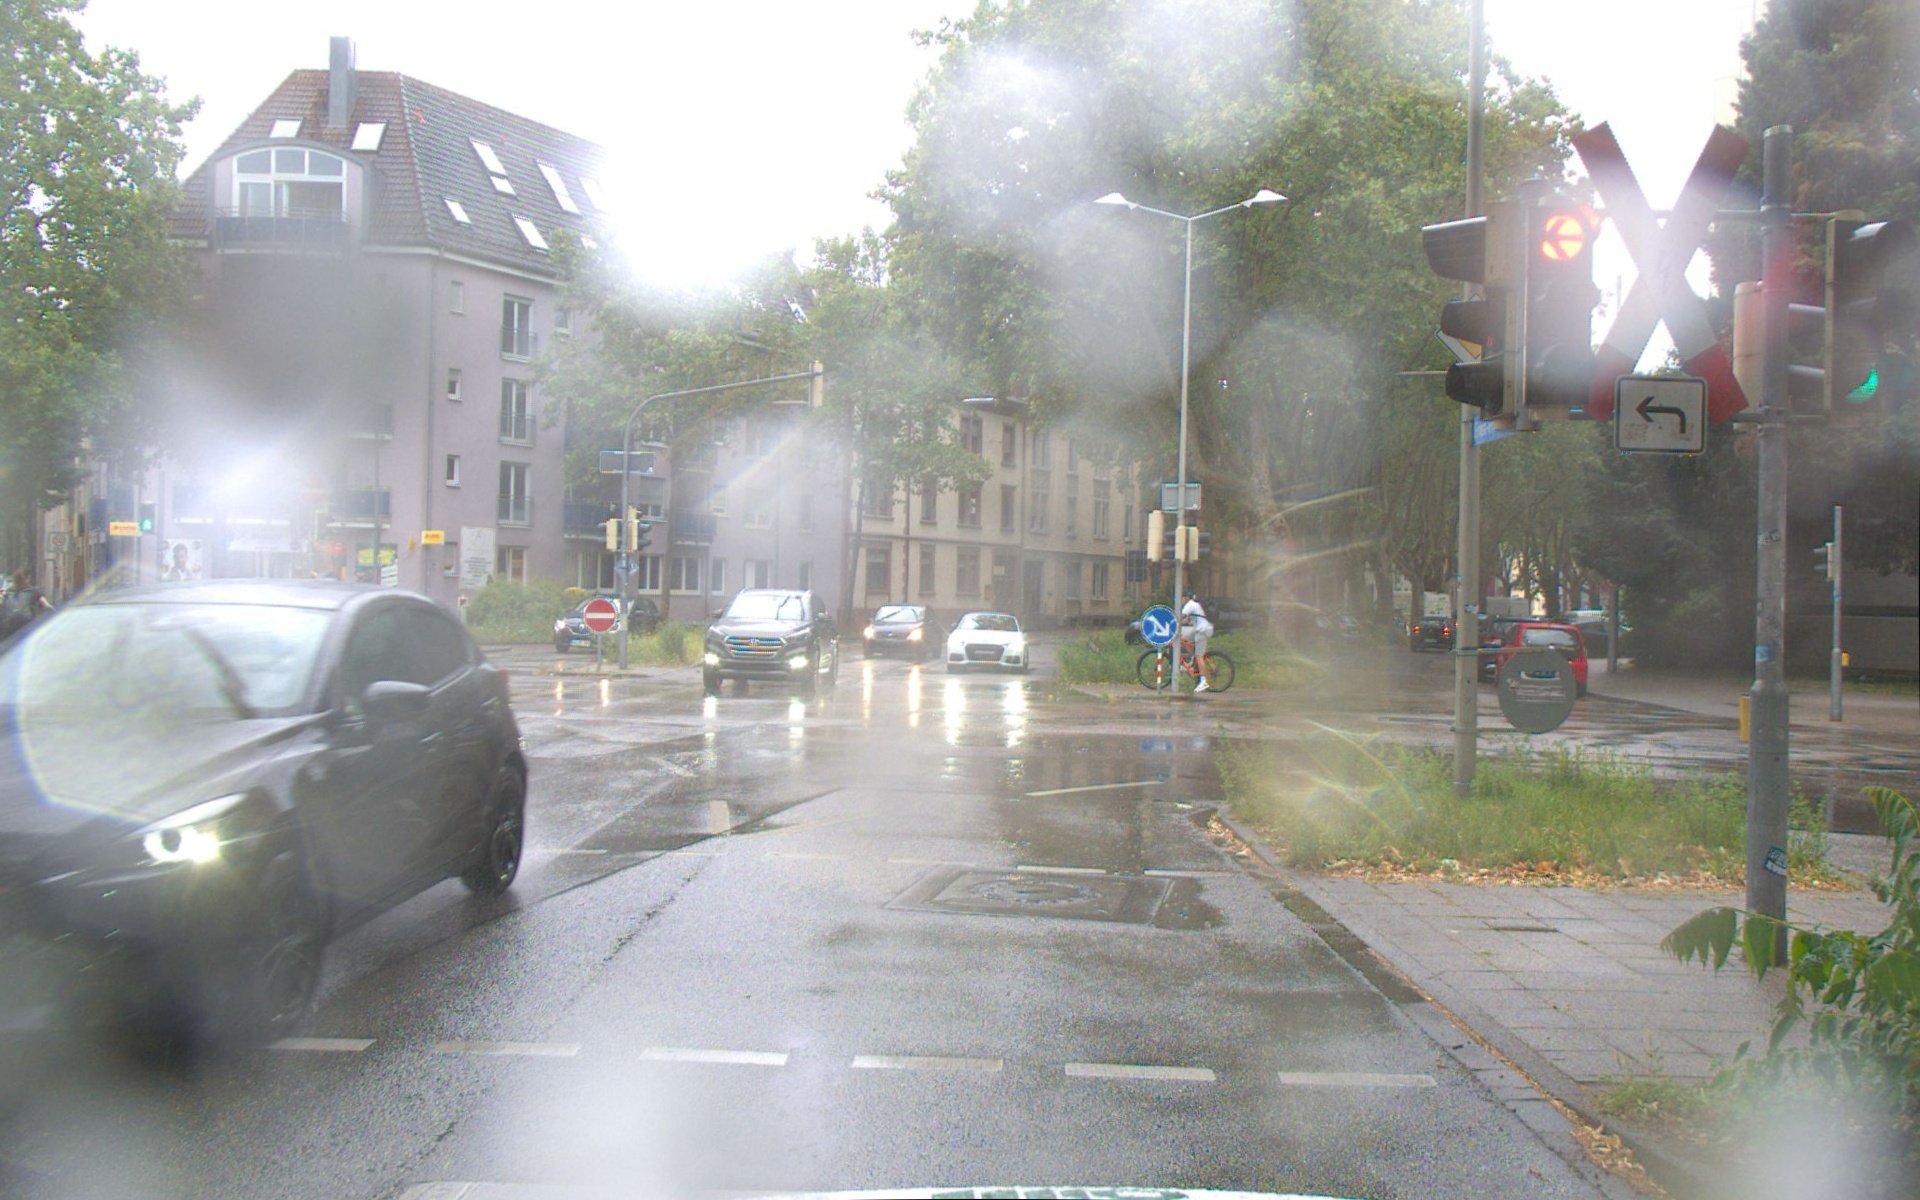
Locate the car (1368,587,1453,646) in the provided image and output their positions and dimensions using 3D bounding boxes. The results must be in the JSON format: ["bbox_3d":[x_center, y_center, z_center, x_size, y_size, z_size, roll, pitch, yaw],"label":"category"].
[{"bbox_3d":[23.945,0.853,88.065,2.005,2.999,4.742,1,0,-21],"label":"car"}]

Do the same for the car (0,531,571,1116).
[{"bbox_3d":[-2.897,0.604,6.714,1.716,1.619,4.233,1,0,-2],"label":"car"}]

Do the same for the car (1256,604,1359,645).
[{"bbox_3d":[13.779,0.955,65.649,3.902,1.512,2.002,1,0,12],"label":"car"}]

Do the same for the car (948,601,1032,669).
[{"bbox_3d":[0.722,0.791,39.126,1.845,1.461,4.001,1,0,1],"label":"car"}]

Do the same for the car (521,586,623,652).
[{"bbox_3d":[-9.633,0.437,41.339,1.716,1.538,3.838,1,0,-2],"label":"car"}]

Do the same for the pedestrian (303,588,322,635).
[{"bbox_3d":[-20.306,0.358,51.877,0.436,1.483,0.560,1,-1,-10],"label":"pedestrian"}]

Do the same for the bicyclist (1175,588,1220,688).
[{"bbox_3d":[4.356,0.690,30.414,0.778,1.817,0.697,1,-1,7],"label":"bicyclist"}]

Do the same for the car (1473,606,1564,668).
[{"bbox_3d":[13.890,0.875,41.301,1.745,1.371,3.932,2,1,13],"label":"car"}]

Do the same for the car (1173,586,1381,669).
[{"bbox_3d":[6.279,0.531,32.787,3.902,1.512,2.002,1,0,12],"label":"car"}]

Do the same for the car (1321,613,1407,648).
[{"bbox_3d":[19.253,1.444,78.922,3.902,1.574,2.002,1,0,12],"label":"car"}]

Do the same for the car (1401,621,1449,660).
[{"bbox_3d":[19.050,1.624,67.672,1.646,1.500,3.663,1,0,20],"label":"car"}]

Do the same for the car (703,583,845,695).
[{"bbox_3d":[-3.047,0.583,27.975,1.766,1.712,4.604,1,1,1],"label":"car"}]

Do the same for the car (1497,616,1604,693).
[{"bbox_3d":[13.044,1.160,36.731,1.754,1.524,4.003,1,0,13],"label":"car"}]

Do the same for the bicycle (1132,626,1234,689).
[{"bbox_3d":[4.096,1.044,30.441,1.833,1.100,0.657,1,0,7],"label":"bicycle"}]

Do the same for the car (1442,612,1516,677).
[{"bbox_3d":[14.982,1.253,47.904,1.745,1.757,4.003,1,0,13],"label":"car"}]

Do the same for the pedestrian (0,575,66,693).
[{"bbox_3d":[-12.618,0.458,22.334,0.736,1.560,0.789,1,-1,-12],"label":"pedestrian"}]

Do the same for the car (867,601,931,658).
[{"bbox_3d":[-1.675,0.787,45.879,1.679,1.485,3.747,1,0,-1],"label":"car"}]

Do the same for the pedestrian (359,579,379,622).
[{"bbox_3d":[-18.573,0.015,51.970,0.435,1.353,0.561,1,-1,-5],"label":"pedestrian"}]

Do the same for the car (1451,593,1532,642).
[{"bbox_3d":[33.660,1.094,104.809,1.974,2.999,4.720,1,0,-31],"label":"car"}]
